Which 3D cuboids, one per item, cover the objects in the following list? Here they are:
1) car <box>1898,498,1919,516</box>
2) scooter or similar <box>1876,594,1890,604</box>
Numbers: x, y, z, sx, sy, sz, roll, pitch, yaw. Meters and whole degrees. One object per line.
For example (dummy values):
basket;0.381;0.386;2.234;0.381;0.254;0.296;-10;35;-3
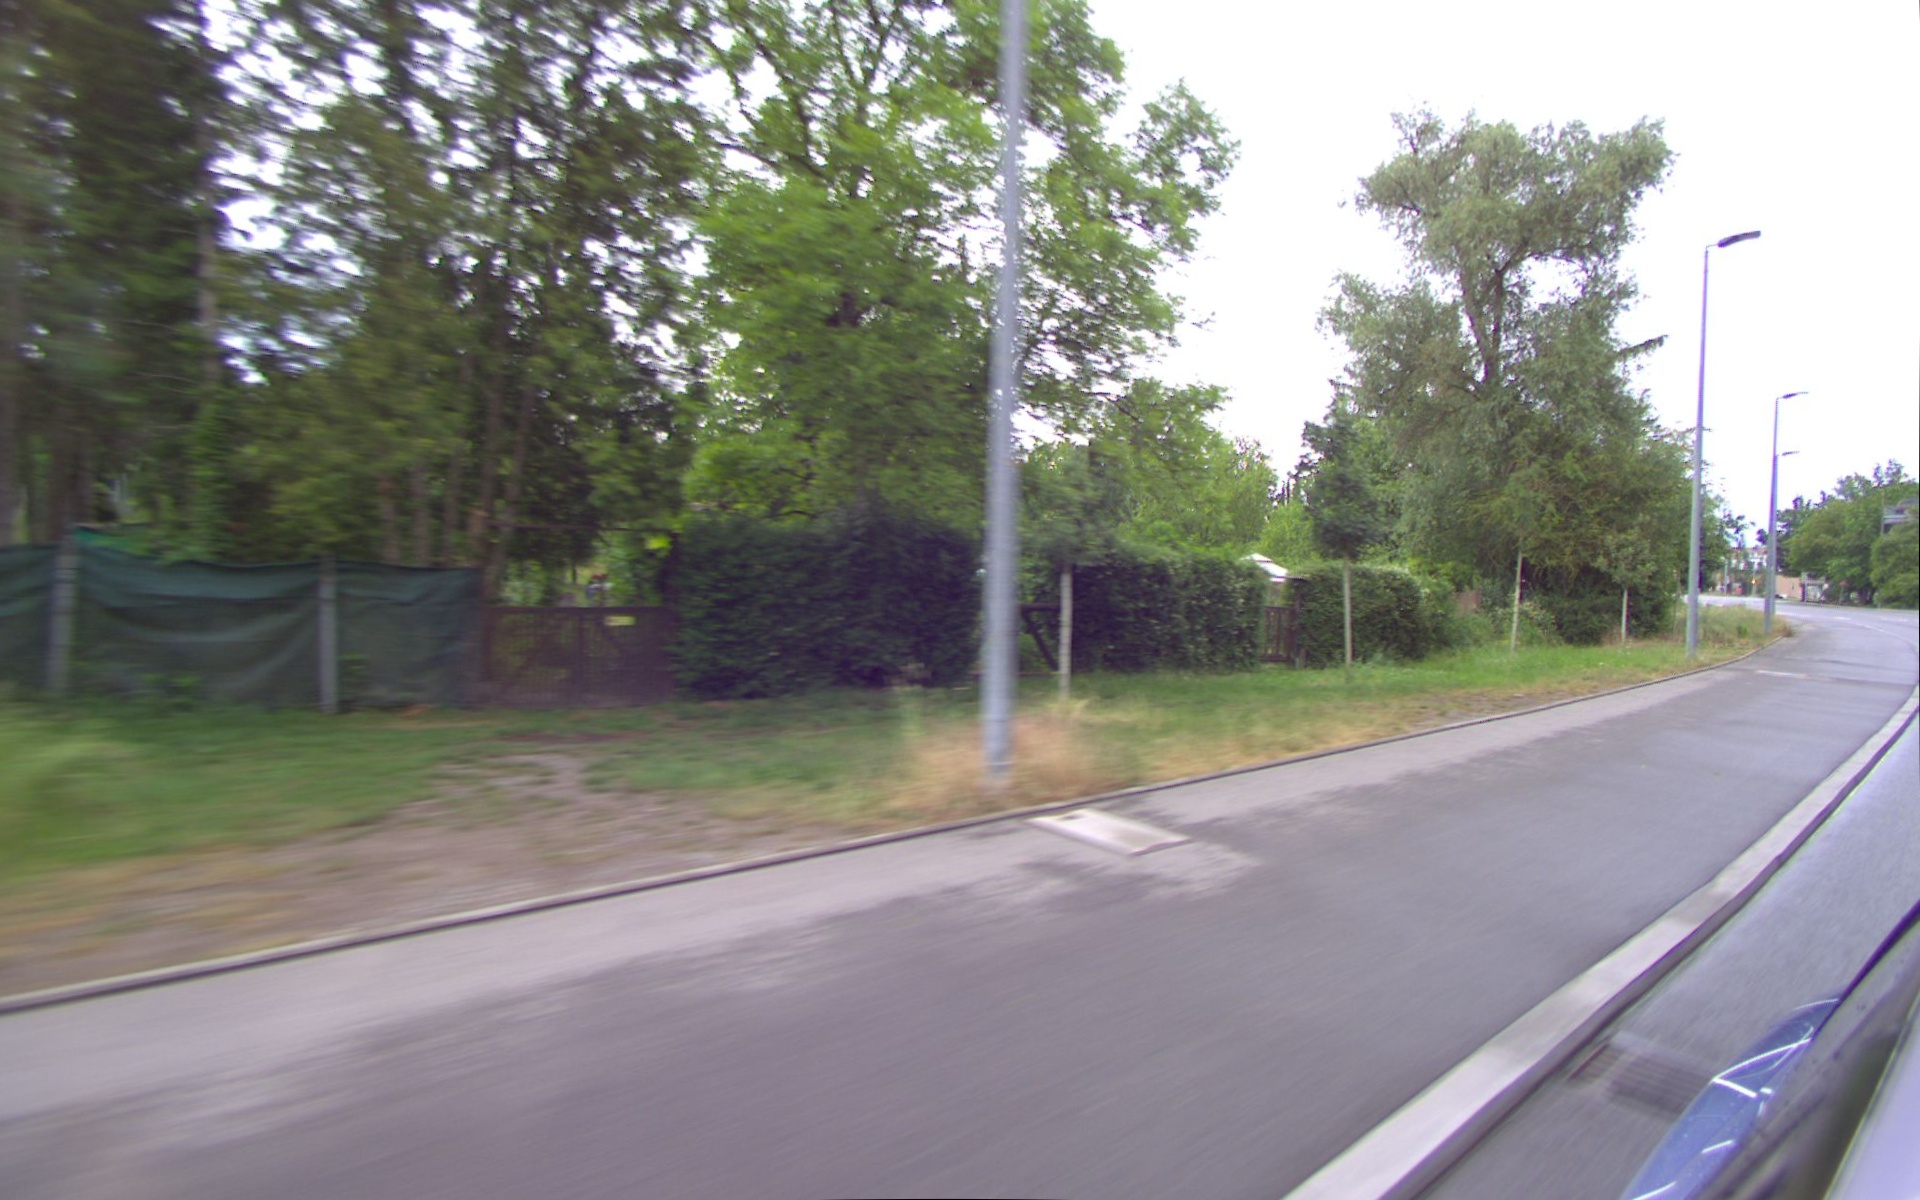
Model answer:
car;91.899;-8.837;95.904;1.961;1.537;4.004;1;3;-33
scooter or similar;138.305;-0.151;151.653;1.342;1.274;0.545;5;2;23
